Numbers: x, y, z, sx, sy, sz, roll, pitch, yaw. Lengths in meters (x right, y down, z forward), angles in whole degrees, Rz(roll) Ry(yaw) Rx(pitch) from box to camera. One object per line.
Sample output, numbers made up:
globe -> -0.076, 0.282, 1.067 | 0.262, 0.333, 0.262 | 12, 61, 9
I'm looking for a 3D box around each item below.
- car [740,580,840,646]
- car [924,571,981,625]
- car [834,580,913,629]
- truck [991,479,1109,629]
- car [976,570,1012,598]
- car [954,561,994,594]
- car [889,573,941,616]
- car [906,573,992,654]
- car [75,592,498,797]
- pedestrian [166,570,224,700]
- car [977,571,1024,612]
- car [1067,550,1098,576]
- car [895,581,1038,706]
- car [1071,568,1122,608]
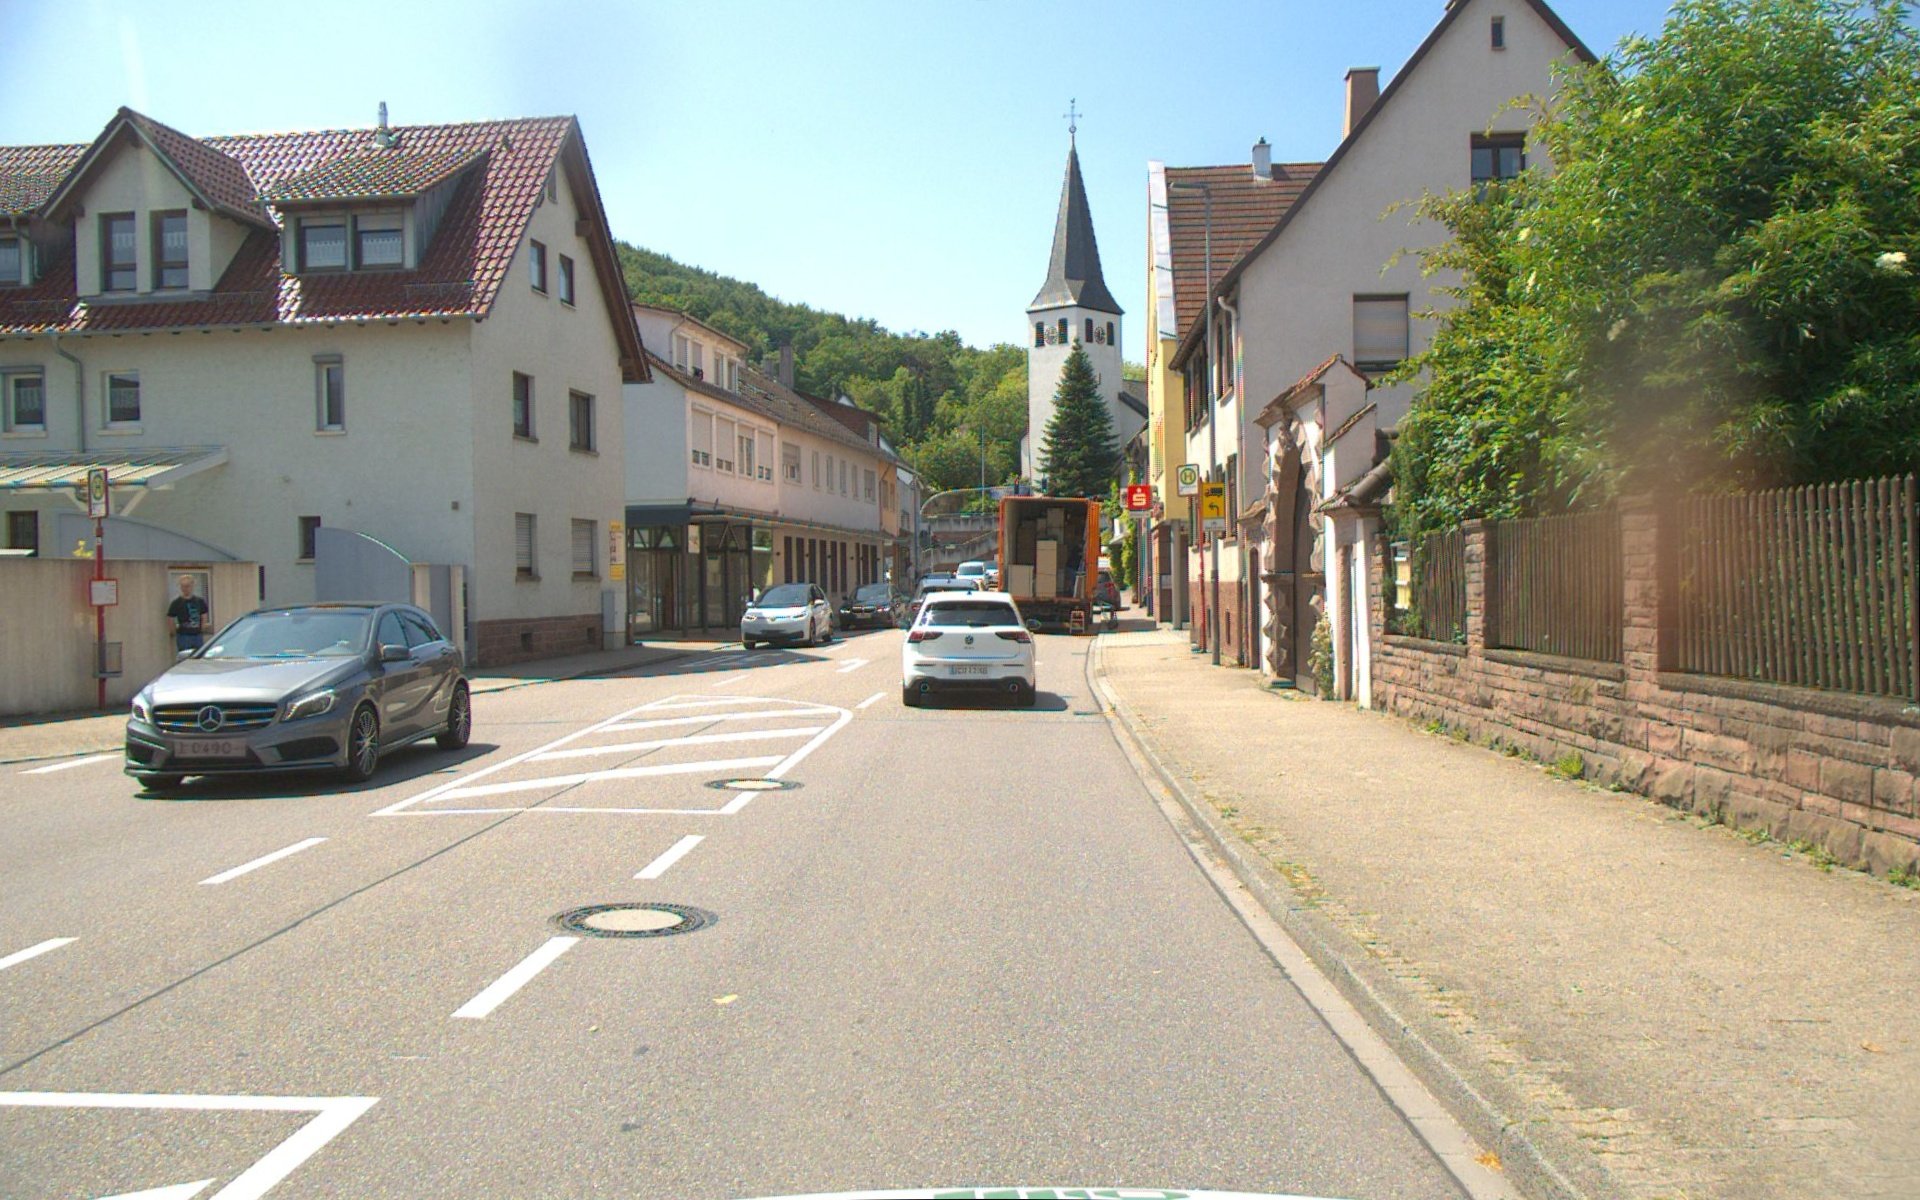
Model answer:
car -> -4.306, 0.317, 42.395 | 1.758, 1.534, 4.136 | -2, 0, 5
car -> -0.217, -0.056, 54.488 | 1.778, 1.657, 4.000 | -2, 0, 0
car -> -2.833, 0.141, 55.225 | 1.755, 1.519, 4.425 | -2, 0, 8
truck -> 2.867, -1.337, 53.041 | 3.297, 4.242, 9.522 | -2, 0, 3
car -> 2.216, -1.023, 107.798 | 1.951, 1.680, 4.003 | -2, 0, 6
car -> 0.819, -1.308, 94.709 | 1.763, 1.810, 4.709 | -2, 1, 6
car -> -1.989, -0.271, 73.775 | 1.655, 1.728, 4.116 | -2, 2, 7
car -> -0.212, 0.285, 37.037 | 1.778, 1.657, 4.000 | -2, 0, 0
car -> -5.635, 0.711, 14.485 | 1.824, 1.467, 4.218 | -2, 0, 2
pedestrian -> -10.701, 0.483, 23.151 | 0.425, 1.795, 0.557 | -1, 0, 19
car -> 1.614, -0.347, 67.126 | 1.778, 1.545, 4.000 | -2, 0, 0
car -> 8.167, -2.455, 110.637 | 1.778, 1.545, 4.000 | -2, 0, 0
car -> 0.100, 0.535, 22.455 | 1.778, 1.545, 4.000 | 0, 0, 0
car -> 5.584, -0.475, 68.142 | 1.778, 1.545, 4.000 | -2, 0, 0
